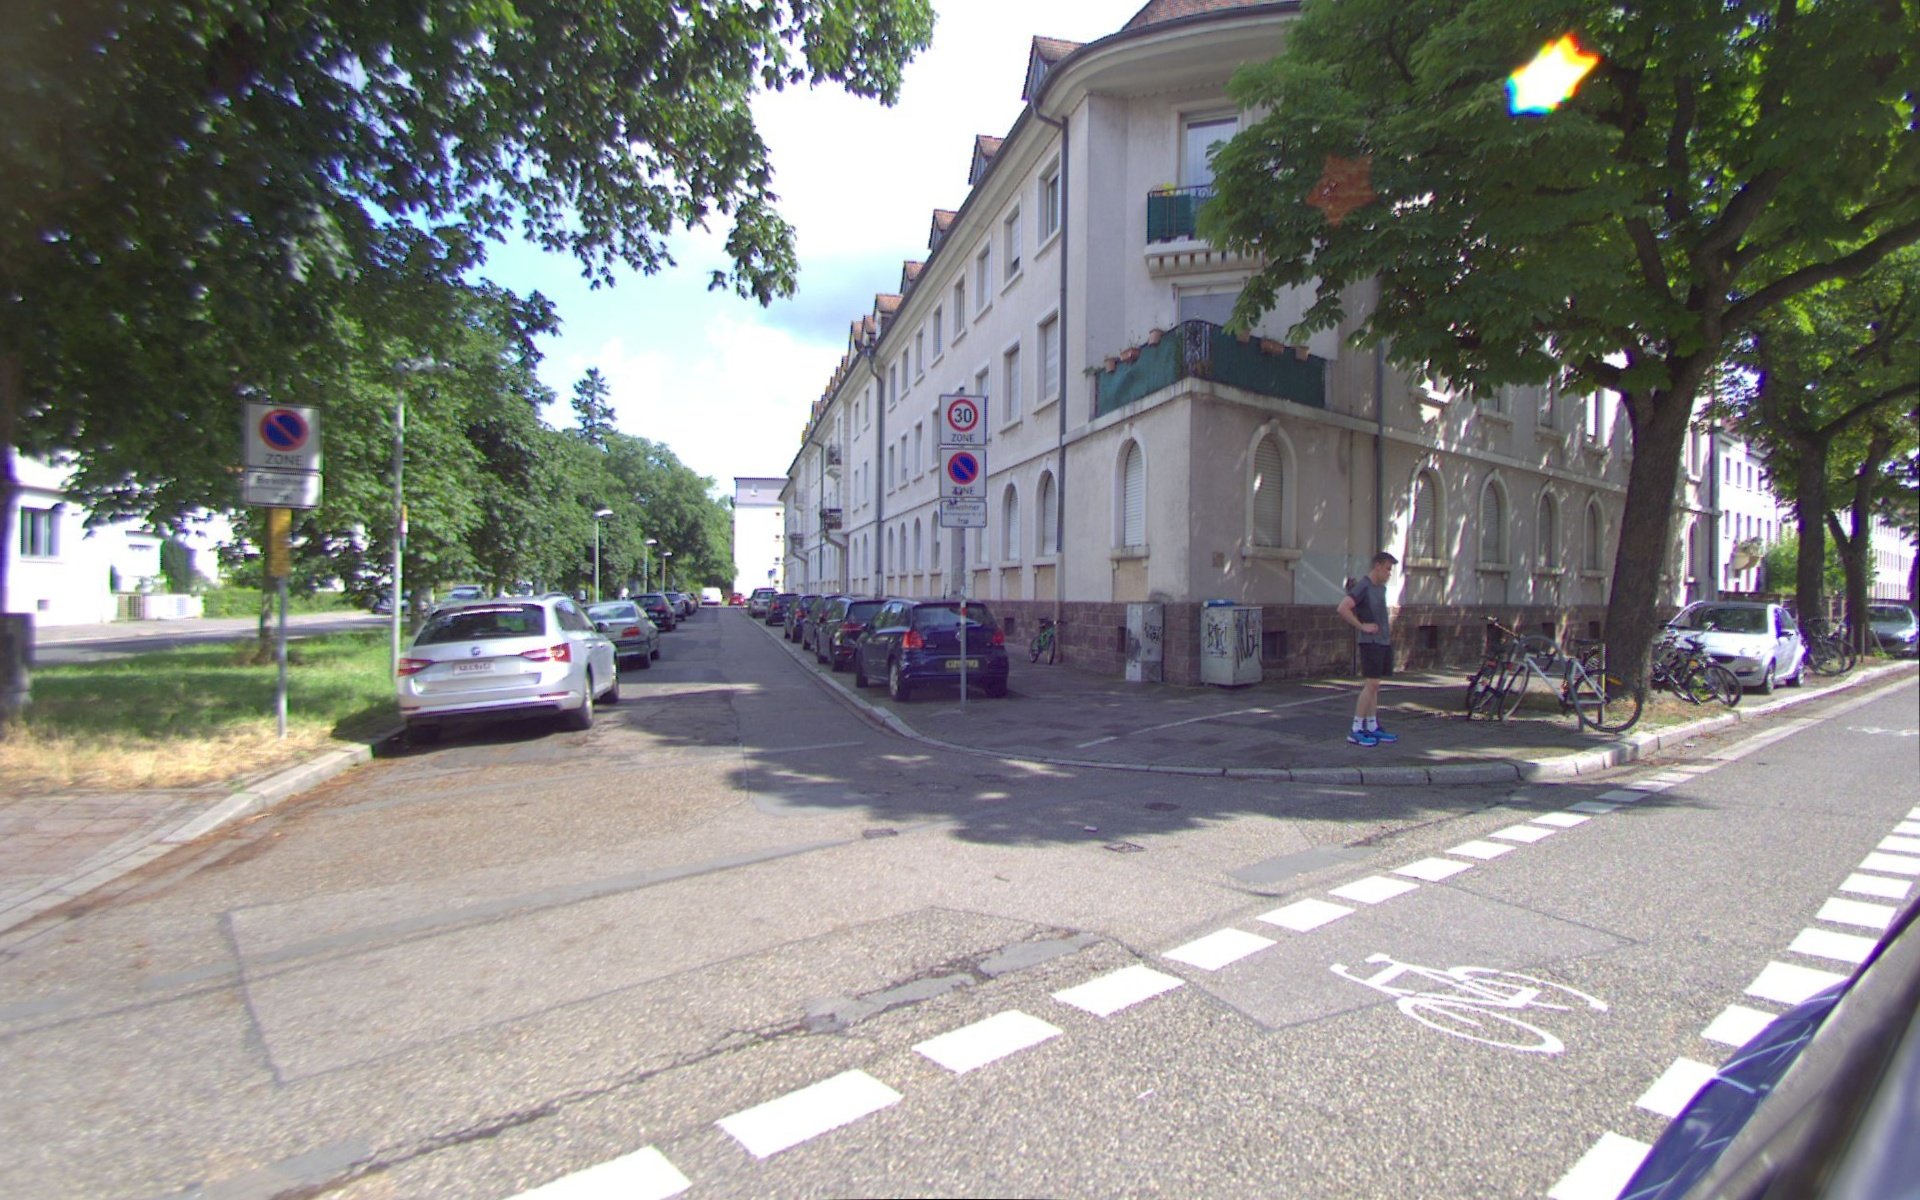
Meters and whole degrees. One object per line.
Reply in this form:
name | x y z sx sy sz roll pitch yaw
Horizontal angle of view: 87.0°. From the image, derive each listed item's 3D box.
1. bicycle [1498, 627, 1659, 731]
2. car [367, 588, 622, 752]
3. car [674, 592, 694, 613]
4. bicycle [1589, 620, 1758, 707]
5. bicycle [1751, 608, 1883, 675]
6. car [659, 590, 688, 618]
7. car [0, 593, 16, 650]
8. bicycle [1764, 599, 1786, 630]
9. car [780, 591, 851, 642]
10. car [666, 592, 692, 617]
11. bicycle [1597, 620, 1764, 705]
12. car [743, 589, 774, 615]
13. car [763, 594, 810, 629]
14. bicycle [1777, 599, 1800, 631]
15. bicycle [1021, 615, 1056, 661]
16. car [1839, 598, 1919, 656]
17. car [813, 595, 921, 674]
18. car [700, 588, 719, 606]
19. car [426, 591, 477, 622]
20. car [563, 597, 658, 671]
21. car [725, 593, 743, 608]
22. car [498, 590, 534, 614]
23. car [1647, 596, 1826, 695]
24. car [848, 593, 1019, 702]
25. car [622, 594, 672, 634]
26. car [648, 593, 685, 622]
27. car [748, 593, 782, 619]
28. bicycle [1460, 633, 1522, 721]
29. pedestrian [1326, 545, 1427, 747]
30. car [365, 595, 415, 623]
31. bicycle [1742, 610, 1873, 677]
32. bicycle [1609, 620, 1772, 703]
bicycle | 6.695 0.824 11.028 0.254 0.995 1.495 0 1 -38
car | -5.101 0.623 11.757 1.830 1.494 4.584 -1 1 -13
car | -25.135 0.198 92.009 1.675 1.891 3.751 1 0 -16
bicycle | 9.977 0.856 14.228 0.395 1.085 1.907 0 0 -40
bicycle | 17.082 0.802 20.233 0.503 1.190 1.946 0 2 -29
car | -17.556 0.248 62.046 1.675 1.665 3.751 1 0 -16
car | -23.817 0.496 22.987 1.663 1.371 3.876 4 -1 -13
bicycle | 32.792 0.572 40.715 1.674 1.227 0.413 1 0 -41
car | -4.578 0.482 31.679 1.675 1.499 3.751 1 0 -16
car | -19.203 0.304 69.103 1.675 1.665 3.751 1 0 -16
bicycle | 10.264 0.859 14.488 0.395 1.085 1.907 0 0 -40
car | -13.123 0.125 65.792 1.675 1.665 3.751 1 0 -16
car | -7.882 0.503 45.778 1.675 1.499 3.751 1 0 -16
bicycle | 32.905 0.596 40.176 1.674 1.227 0.413 1 0 -41
bicycle | 1.540 0.736 20.019 0.315 0.833 1.356 1 0 -12
car | 26.007 0.694 28.232 4.322 1.426 1.848 0 2 -44
car | -2.001 0.638 20.819 1.628 1.442 3.727 -1 0 -15
car | -26.712 -0.339 107.947 1.812 1.920 3.751 1 0 -16
car | -26.869 0.304 53.607 1.675 1.576 3.879 1 0 -16
car | -7.382 0.655 21.656 1.553 1.397 3.829 -1 0 -14
car | -24.351 0.056 109.145 1.675 1.567 3.751 1 0 -16
car | -29.644 0.105 67.683 1.675 1.576 3.879 1 0 -16
car | 13.362 0.699 17.354 3.699 1.448 1.670 0 2 -41
car | -0.527 0.608 15.308 1.673 1.424 3.572 -1 0 -17
car | -11.662 0.490 37.908 1.675 1.417 3.751 1 0 -16
car | -14.771 0.367 50.986 1.675 1.417 3.751 1 0 -16
car | -11.668 0.335 60.532 1.675 1.529 3.751 1 0 -16
bicycle | 6.270 0.872 11.911 0.258 0.911 1.746 1 1 40
pedestrian | 4.054 0.410 9.834 0.864 1.858 0.611 -2 2 -43
car | -33.201 0.501 59.055 1.675 1.576 3.879 1 0 -16
bicycle | 16.635 0.822 19.926 0.503 1.190 1.903 0 2 -29
bicycle | 10.613 0.867 14.770 0.395 1.085 1.907 0 0 -40
